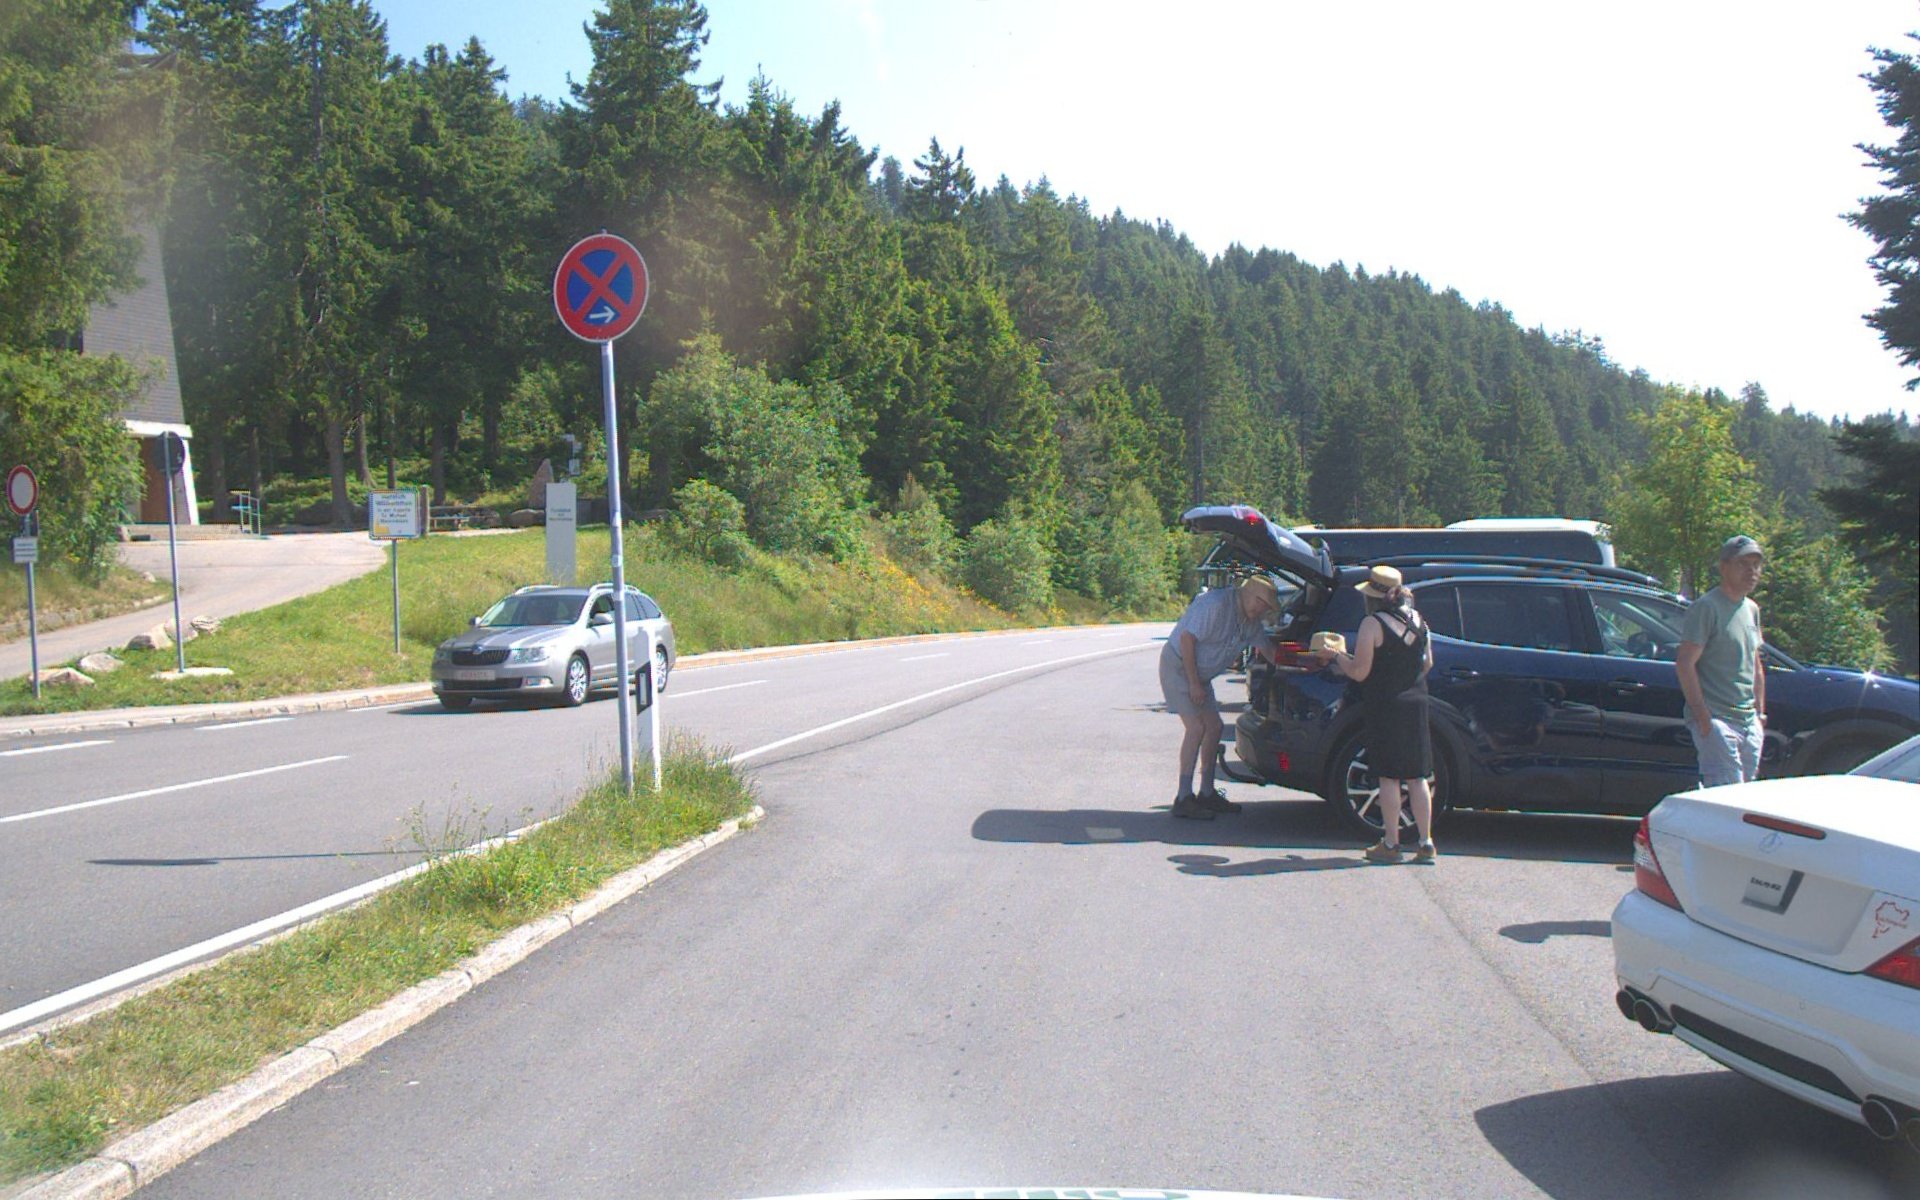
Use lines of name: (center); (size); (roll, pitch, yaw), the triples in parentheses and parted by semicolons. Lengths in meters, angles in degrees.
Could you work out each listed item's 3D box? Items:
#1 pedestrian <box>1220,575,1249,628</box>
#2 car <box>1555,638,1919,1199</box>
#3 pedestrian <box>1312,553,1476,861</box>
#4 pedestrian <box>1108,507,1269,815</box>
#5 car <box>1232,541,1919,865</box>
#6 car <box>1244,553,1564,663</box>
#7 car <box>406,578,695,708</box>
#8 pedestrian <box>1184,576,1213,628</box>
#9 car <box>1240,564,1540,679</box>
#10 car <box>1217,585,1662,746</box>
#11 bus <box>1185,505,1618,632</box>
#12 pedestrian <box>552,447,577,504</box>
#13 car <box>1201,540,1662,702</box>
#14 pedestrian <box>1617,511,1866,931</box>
pedestrian: (8.535, 0.044, 51.414); (0.754, 1.613, 0.773); (-1, 0, 18)
car: (4.125, 0.873, 4.656); (4.320, 1.318, 1.751); (2, 1, -12)
pedestrian: (2.386, 0.578, 9.134); (0.701, 1.641, 0.535); (1, 0, -9)
pedestrian: (1.482, 0.353, 10.726); (0.724, 1.903, 0.754); (3, 4, 41)
car: (3.948, 0.587, 10.391); (4.252, 1.654, 1.871); (3, 0, 6)
car: (7.248, 0.136, 27.461); (4.926, 1.680, 2.050); (-1, 0, 11)
car: (-5.151, 0.474, 21.540); (1.839, 1.500, 4.718); (0, 1, 11)
pedestrian: (7.504, 0.064, 51.958); (0.754, 1.613, 0.773); (-1, 0, 18)
car: (6.316, 0.315, 24.653); (4.153, 1.581, 1.840); (-1, 0, 11)
car: (4.672, 0.608, 16.572); (3.995, 1.400, 1.703); (2, 0, 5)
bus: (13.752, -0.894, 52.011); (12.824, 3.594, 3.044); (-1, 0, 21)
pedestrian: (-13.857, -4.358, 57.937); (0.671, 1.910, 0.538); (-2, 0, 44)
car: (5.312, 0.239, 19.076); (4.843, 1.725, 1.947); (-1, 0, 13)
pedestrian: (3.625, 0.532, 7.702); (0.735, 1.831, 0.731); (1, 0, -21)
